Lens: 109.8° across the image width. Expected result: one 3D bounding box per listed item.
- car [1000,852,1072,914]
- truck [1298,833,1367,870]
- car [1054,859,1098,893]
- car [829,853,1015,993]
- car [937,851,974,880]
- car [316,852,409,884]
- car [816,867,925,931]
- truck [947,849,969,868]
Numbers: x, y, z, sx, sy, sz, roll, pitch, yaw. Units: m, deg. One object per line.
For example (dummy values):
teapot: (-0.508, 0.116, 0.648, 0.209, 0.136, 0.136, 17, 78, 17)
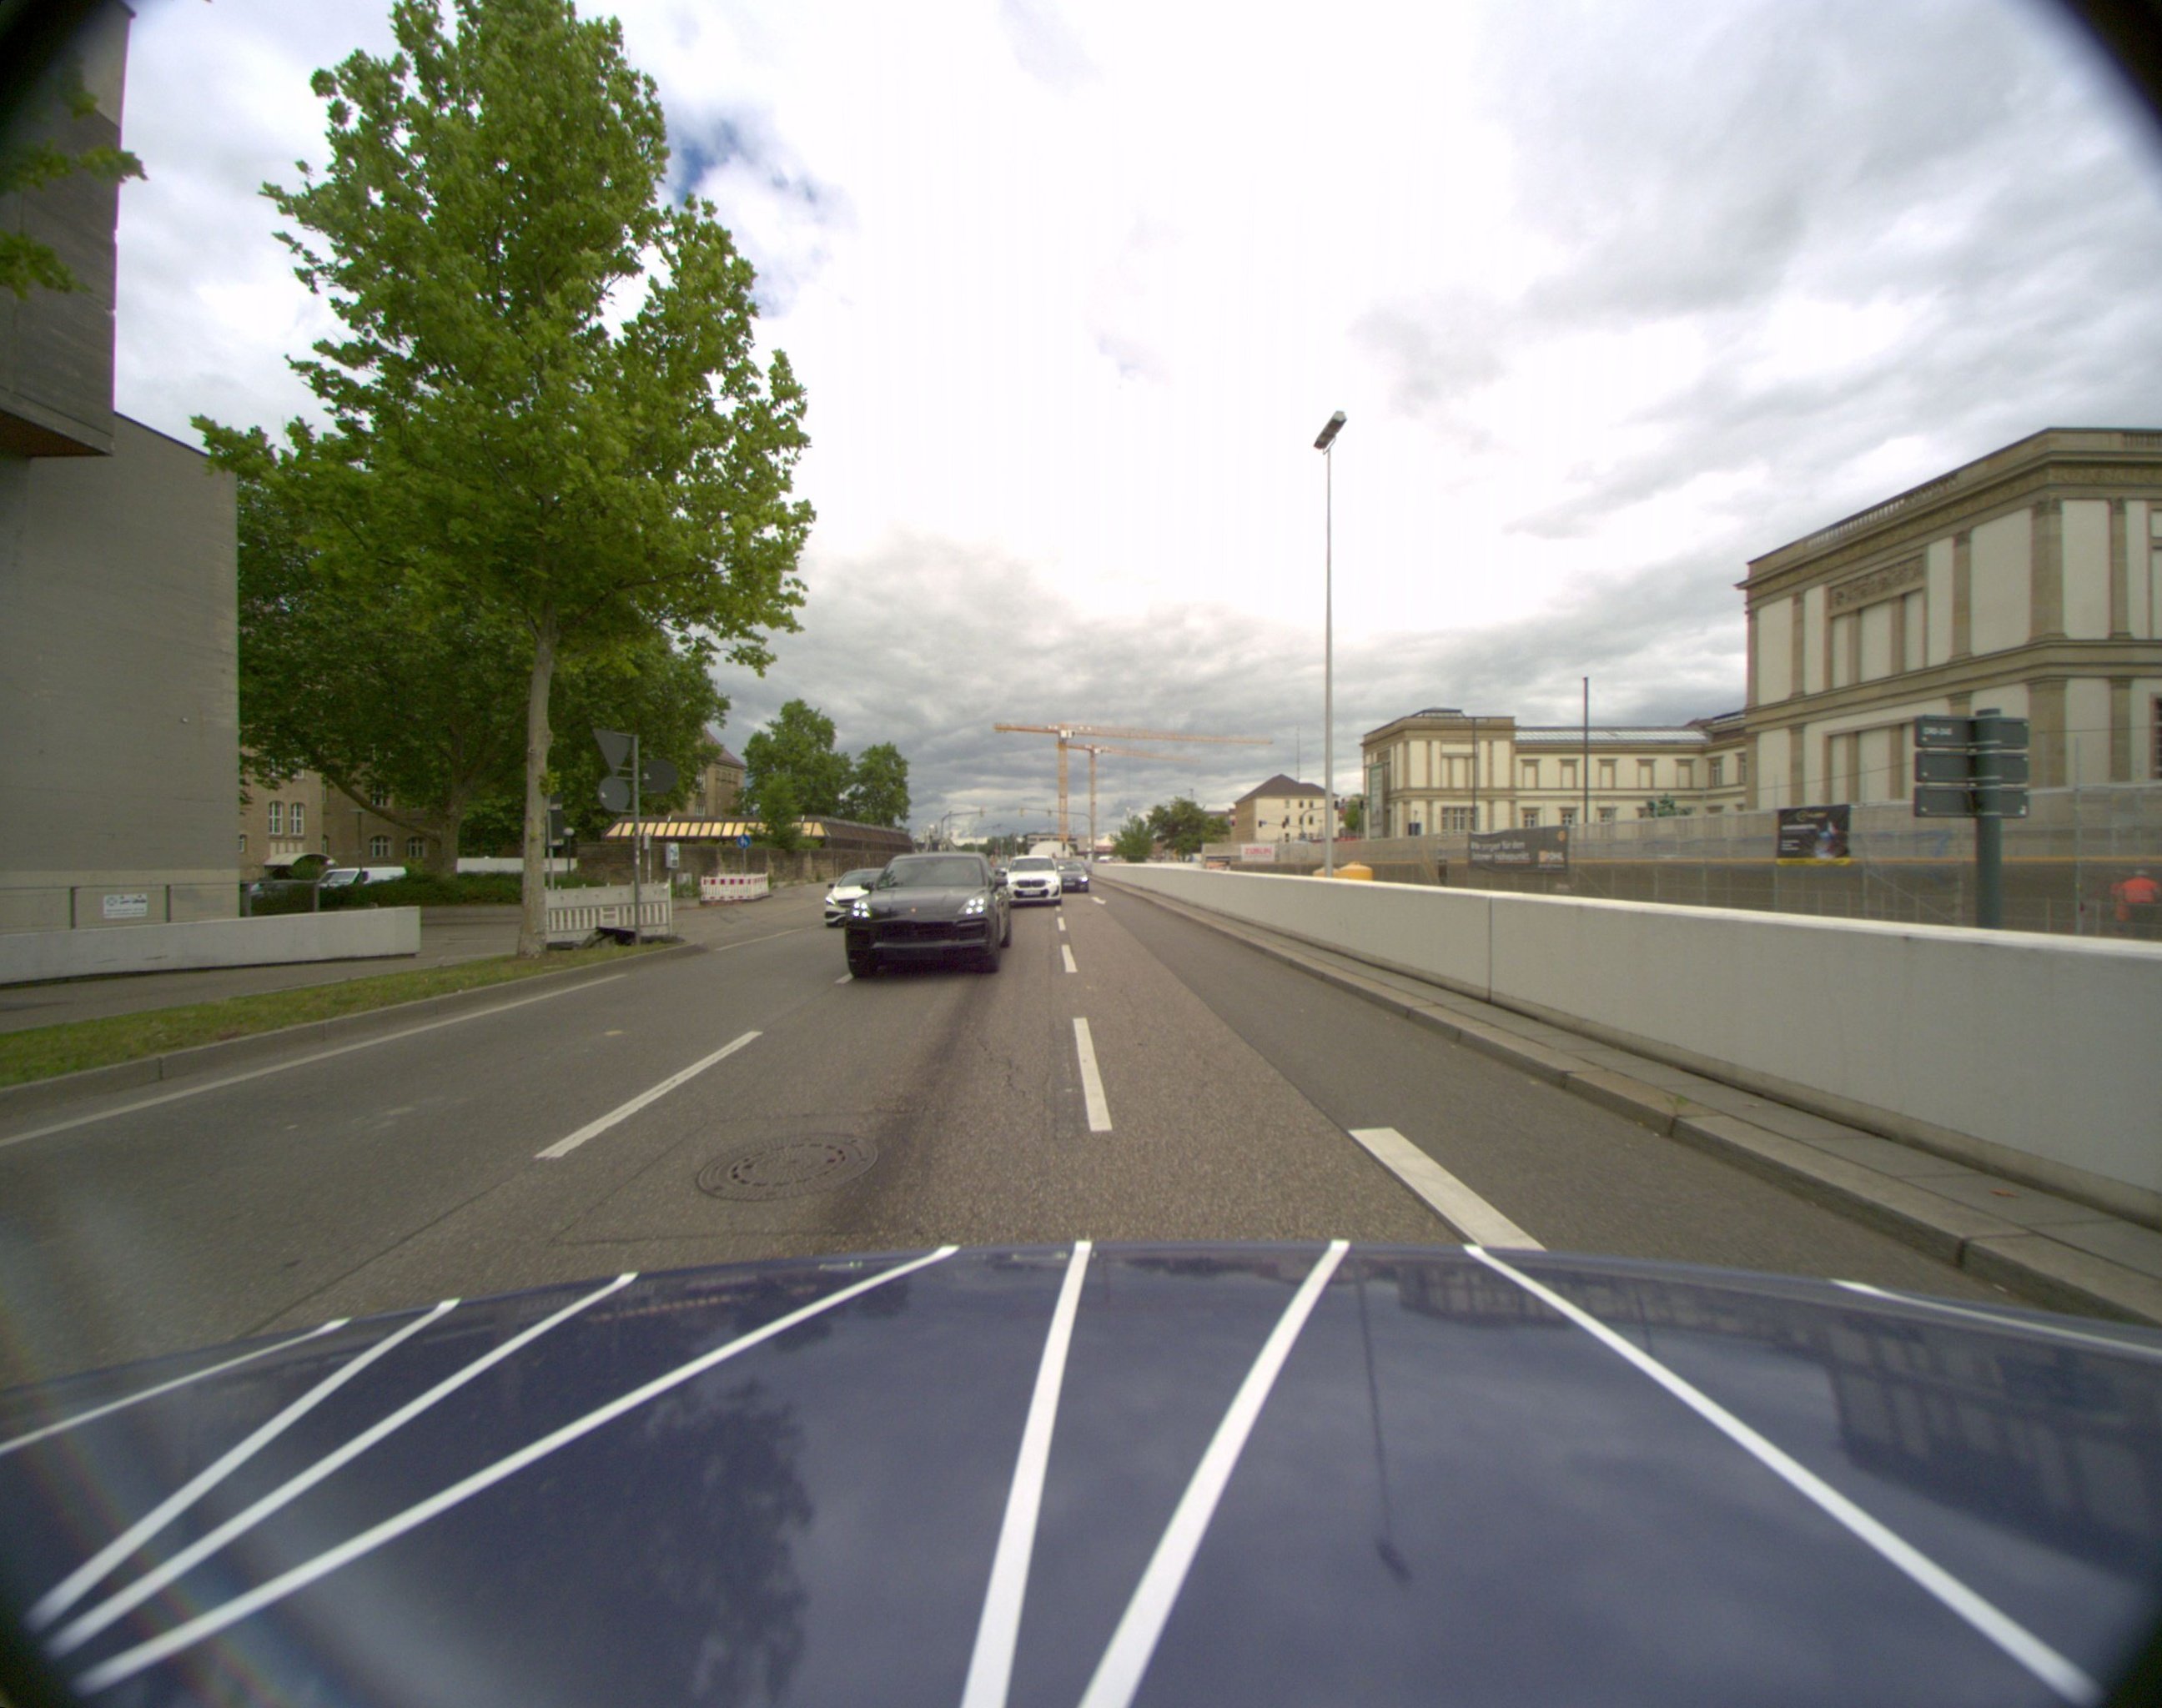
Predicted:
car: (-1.384, 0.865, 24.632, 1.812, 1.596, 3.712, -5, 1, 3)
truck: (30.629, -0.177, 93.626, 2.925, 4.058, 16.615, 1, -1, 0)
car: (-0.206, 0.971, 34.739, 1.852, 1.412, 4.105, -2, -1, 0)
car: (-2.131, 0.868, 11.543, 1.956, 1.638, 4.608, -2, -1, -2)
car: (-7.967, 0.697, 48.391, 1.812, 1.815, 3.772, 0, 0, -2)
car: (-42.913, 0.814, 45.501, 1.812, 1.815, 3.972, 0, 0, -2)
car: (-5.399, 1.084, 20.052, 1.739, 1.427, 4.381, -2, -1, -2)
truck: (-24.242, 0.907, 149.487, 2.913, 3.653, 9.013, 0, 0, -18)
